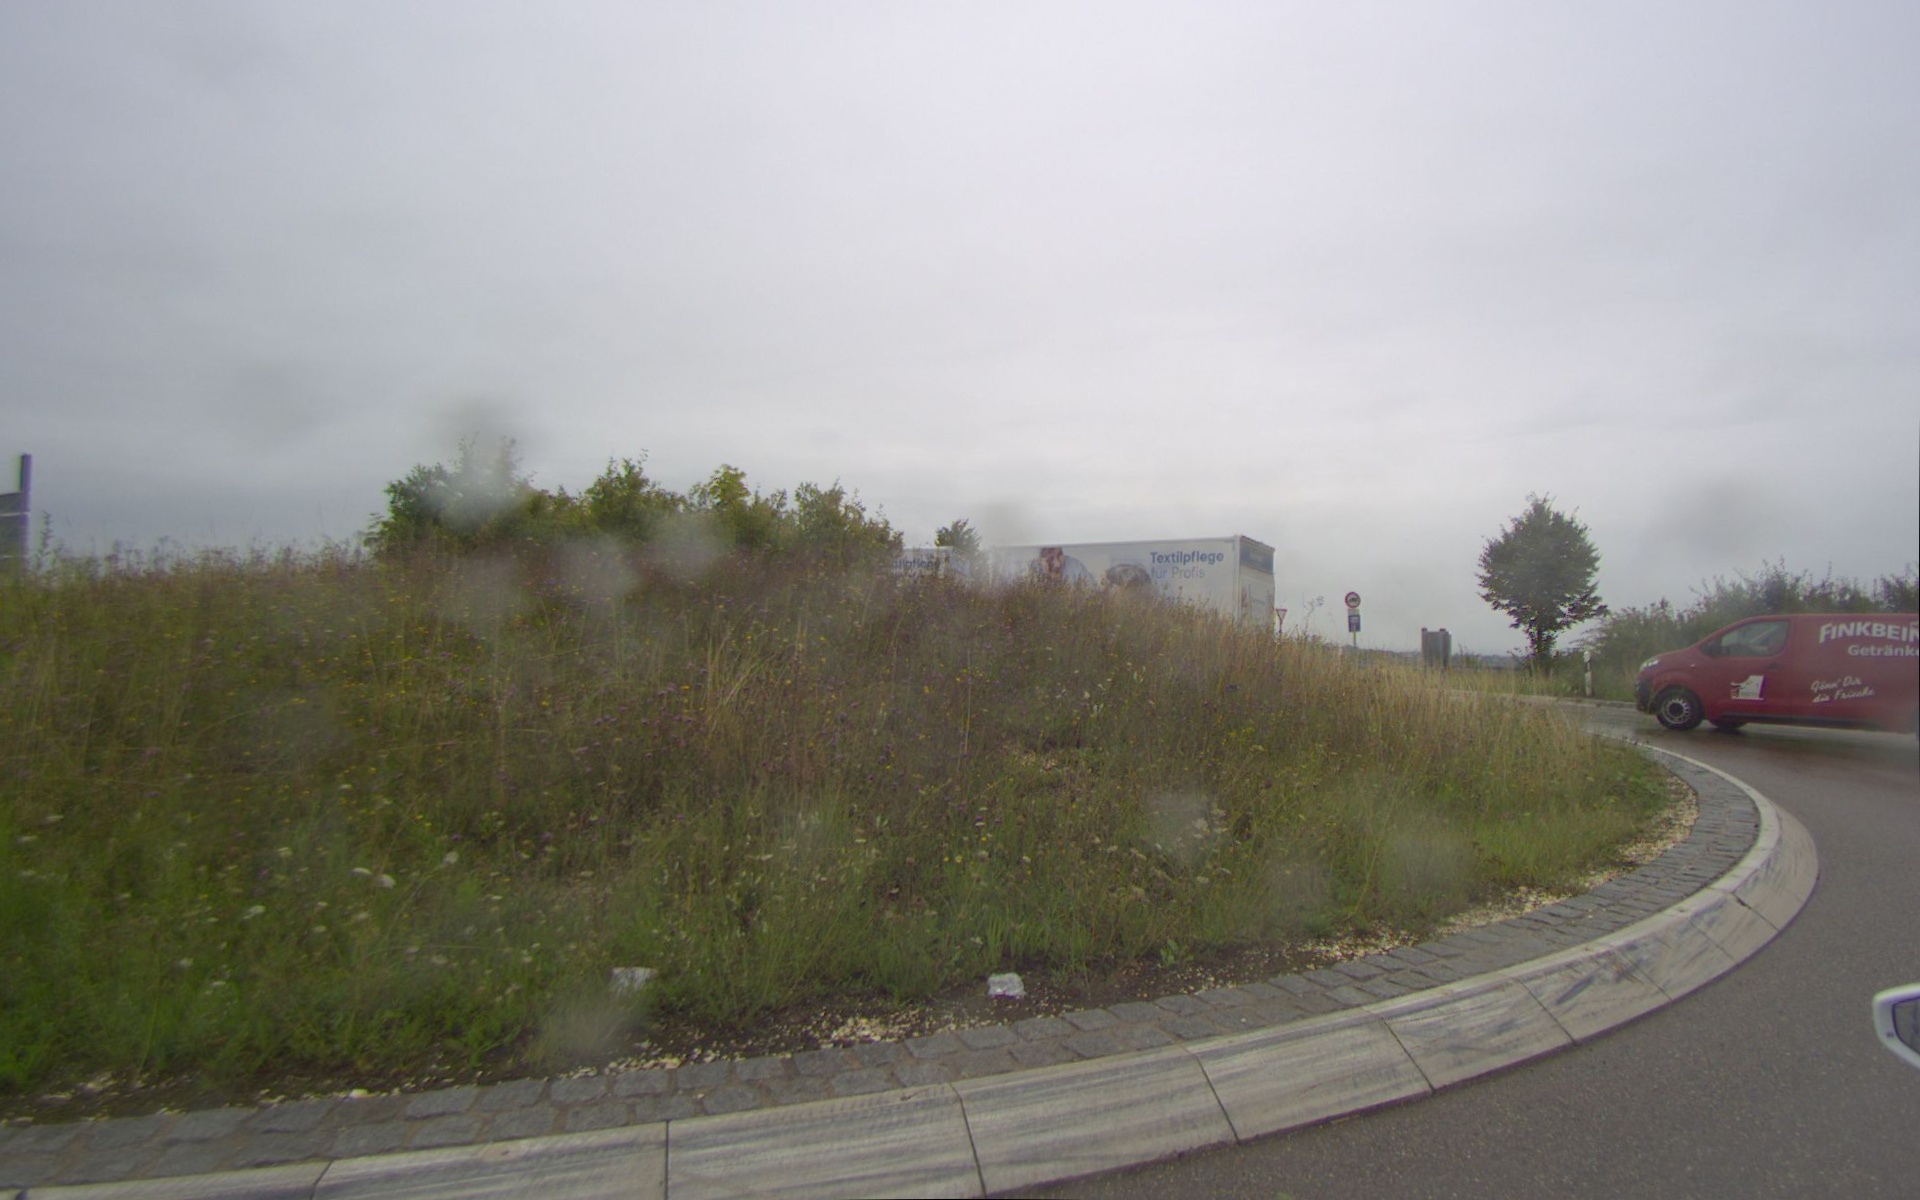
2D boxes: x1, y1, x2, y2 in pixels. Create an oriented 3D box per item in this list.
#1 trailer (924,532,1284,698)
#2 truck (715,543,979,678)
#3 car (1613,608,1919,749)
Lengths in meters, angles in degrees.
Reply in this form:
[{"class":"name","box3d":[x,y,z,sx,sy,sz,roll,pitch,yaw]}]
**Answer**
[{"class":"trailer","box3d":[3.637,0.405,27.521,9.560,3.869,2.831,0,-2,37]},{"class":"truck","box3d":[-3.461,0.283,31.156,7.535,3.869,2.810,1,-2,16]},{"class":"car","box3d":[13.150,1.106,15.380,1.977,1.895,4.939,2,-1,-30]}]
